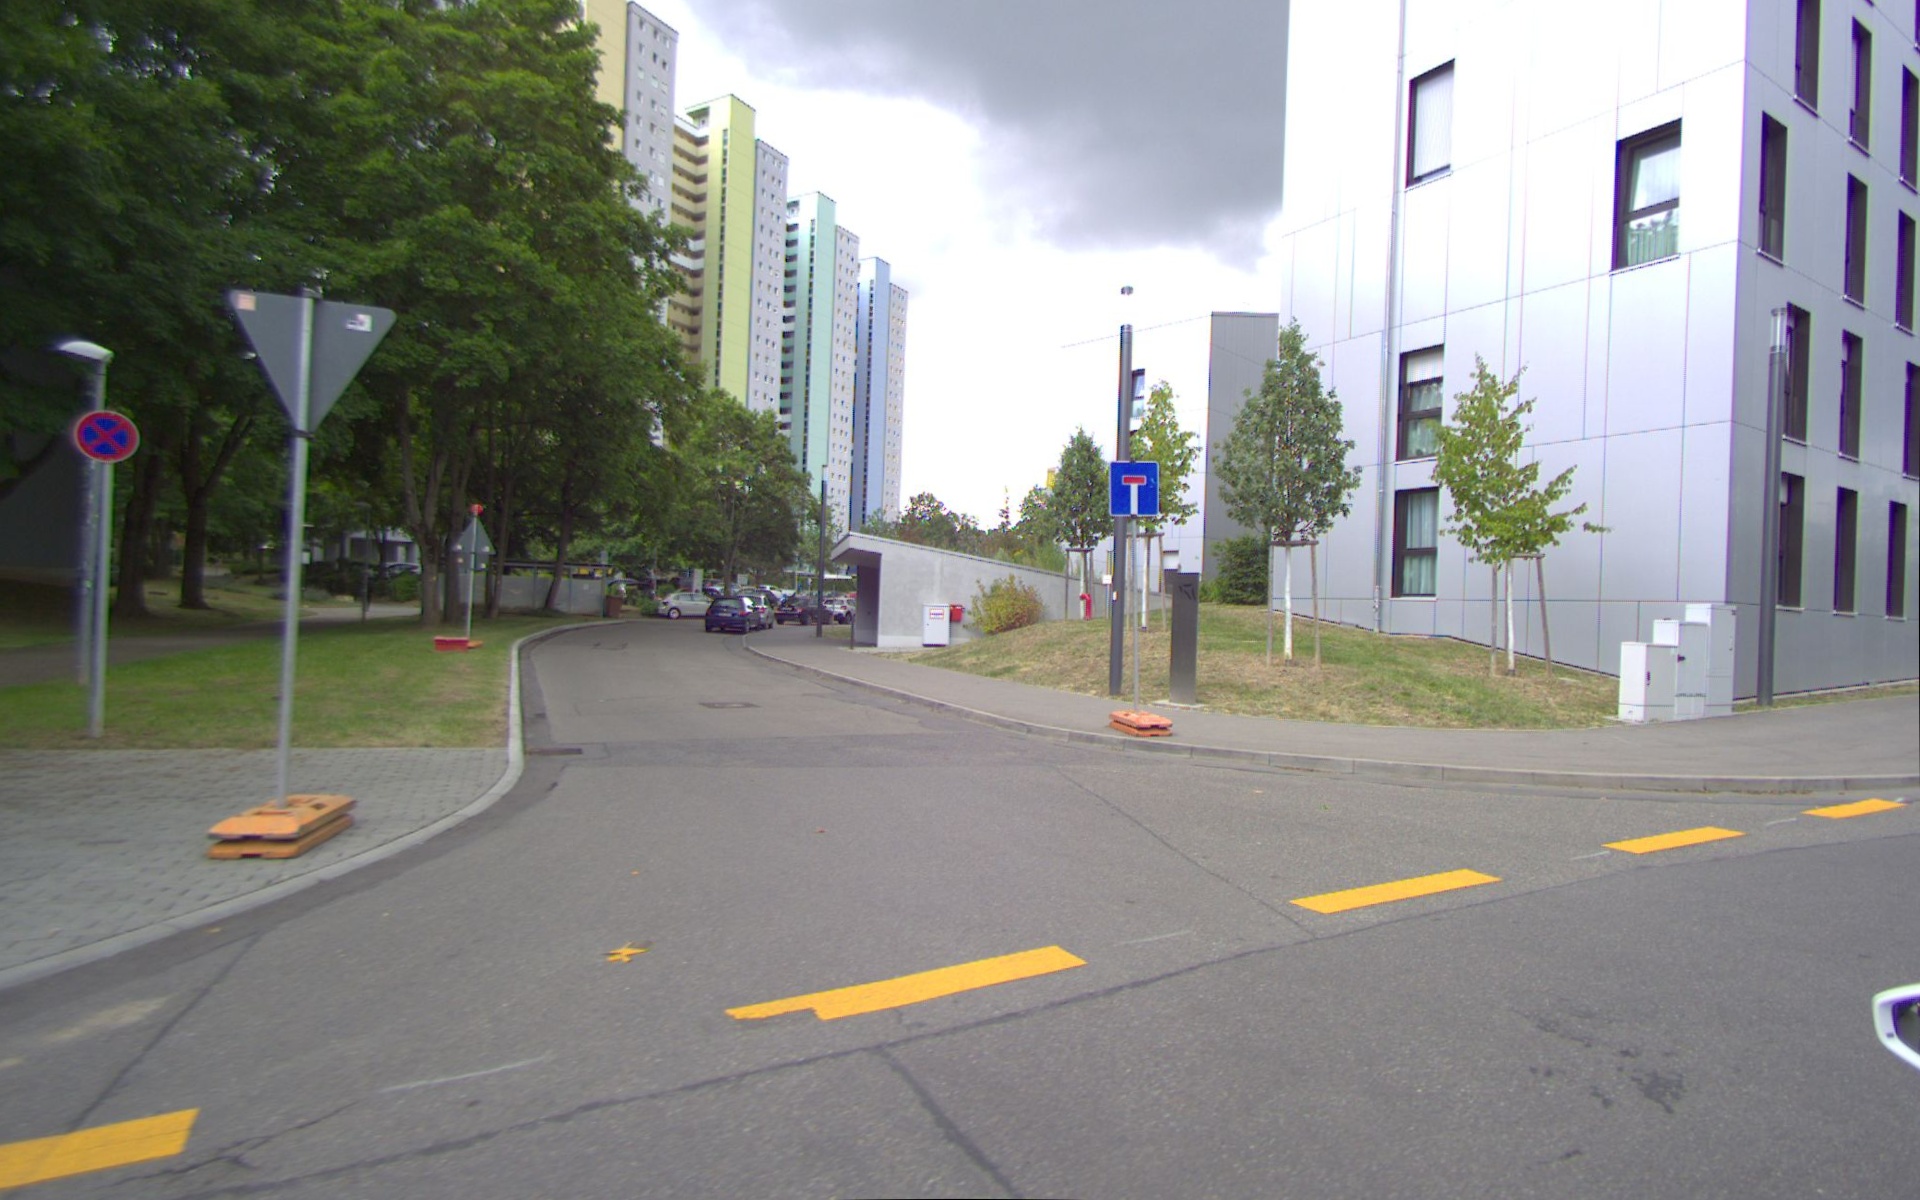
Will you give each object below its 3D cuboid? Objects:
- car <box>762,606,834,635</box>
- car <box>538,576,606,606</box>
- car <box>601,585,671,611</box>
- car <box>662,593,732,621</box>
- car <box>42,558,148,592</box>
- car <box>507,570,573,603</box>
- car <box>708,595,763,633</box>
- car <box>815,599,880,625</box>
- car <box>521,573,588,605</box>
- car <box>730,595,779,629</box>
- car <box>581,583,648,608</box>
[{"bbox_3d":[-8.334,1.072,51.983,1.801,1.391,3.614,2,0,30],"label":"car"},{"bbox_3d":[-23.734,-0.547,61.487,3.592,1.685,1.481,2,0,-40],"label":"car"},{"bbox_3d":[-19.038,-0.101,59.081,3.592,1.391,1.481,2,0,-40],"label":"car"},{"bbox_3d":[-14.484,0.380,55.387,3.568,1.391,1.491,2,0,-21],"label":"car"},{"bbox_3d":[-50.648,-1.446,58.868,2.173,1.790,4.232,1,-1,31],"label":"car"},{"bbox_3d":[-26.810,-0.830,64.133,3.592,1.981,1.481,2,0,-40],"label":"car"},{"bbox_3d":[-8.766,0.530,39.431,1.470,1.391,3.620,2,0,-3],"label":"car"},{"bbox_3d":[-6.336,0.690,56.895,1.801,1.391,3.614,2,0,30],"label":"car"},{"bbox_3d":[-25.471,-0.674,63.106,3.592,1.892,1.481,2,0,-40],"label":"car"},{"bbox_3d":[-8.886,0.517,43.672,1.470,1.391,3.620,2,0,-3],"label":"car"},{"bbox_3d":[-21.057,-0.257,61.230,3.592,1.391,1.481,2,0,-40],"label":"car"}]
